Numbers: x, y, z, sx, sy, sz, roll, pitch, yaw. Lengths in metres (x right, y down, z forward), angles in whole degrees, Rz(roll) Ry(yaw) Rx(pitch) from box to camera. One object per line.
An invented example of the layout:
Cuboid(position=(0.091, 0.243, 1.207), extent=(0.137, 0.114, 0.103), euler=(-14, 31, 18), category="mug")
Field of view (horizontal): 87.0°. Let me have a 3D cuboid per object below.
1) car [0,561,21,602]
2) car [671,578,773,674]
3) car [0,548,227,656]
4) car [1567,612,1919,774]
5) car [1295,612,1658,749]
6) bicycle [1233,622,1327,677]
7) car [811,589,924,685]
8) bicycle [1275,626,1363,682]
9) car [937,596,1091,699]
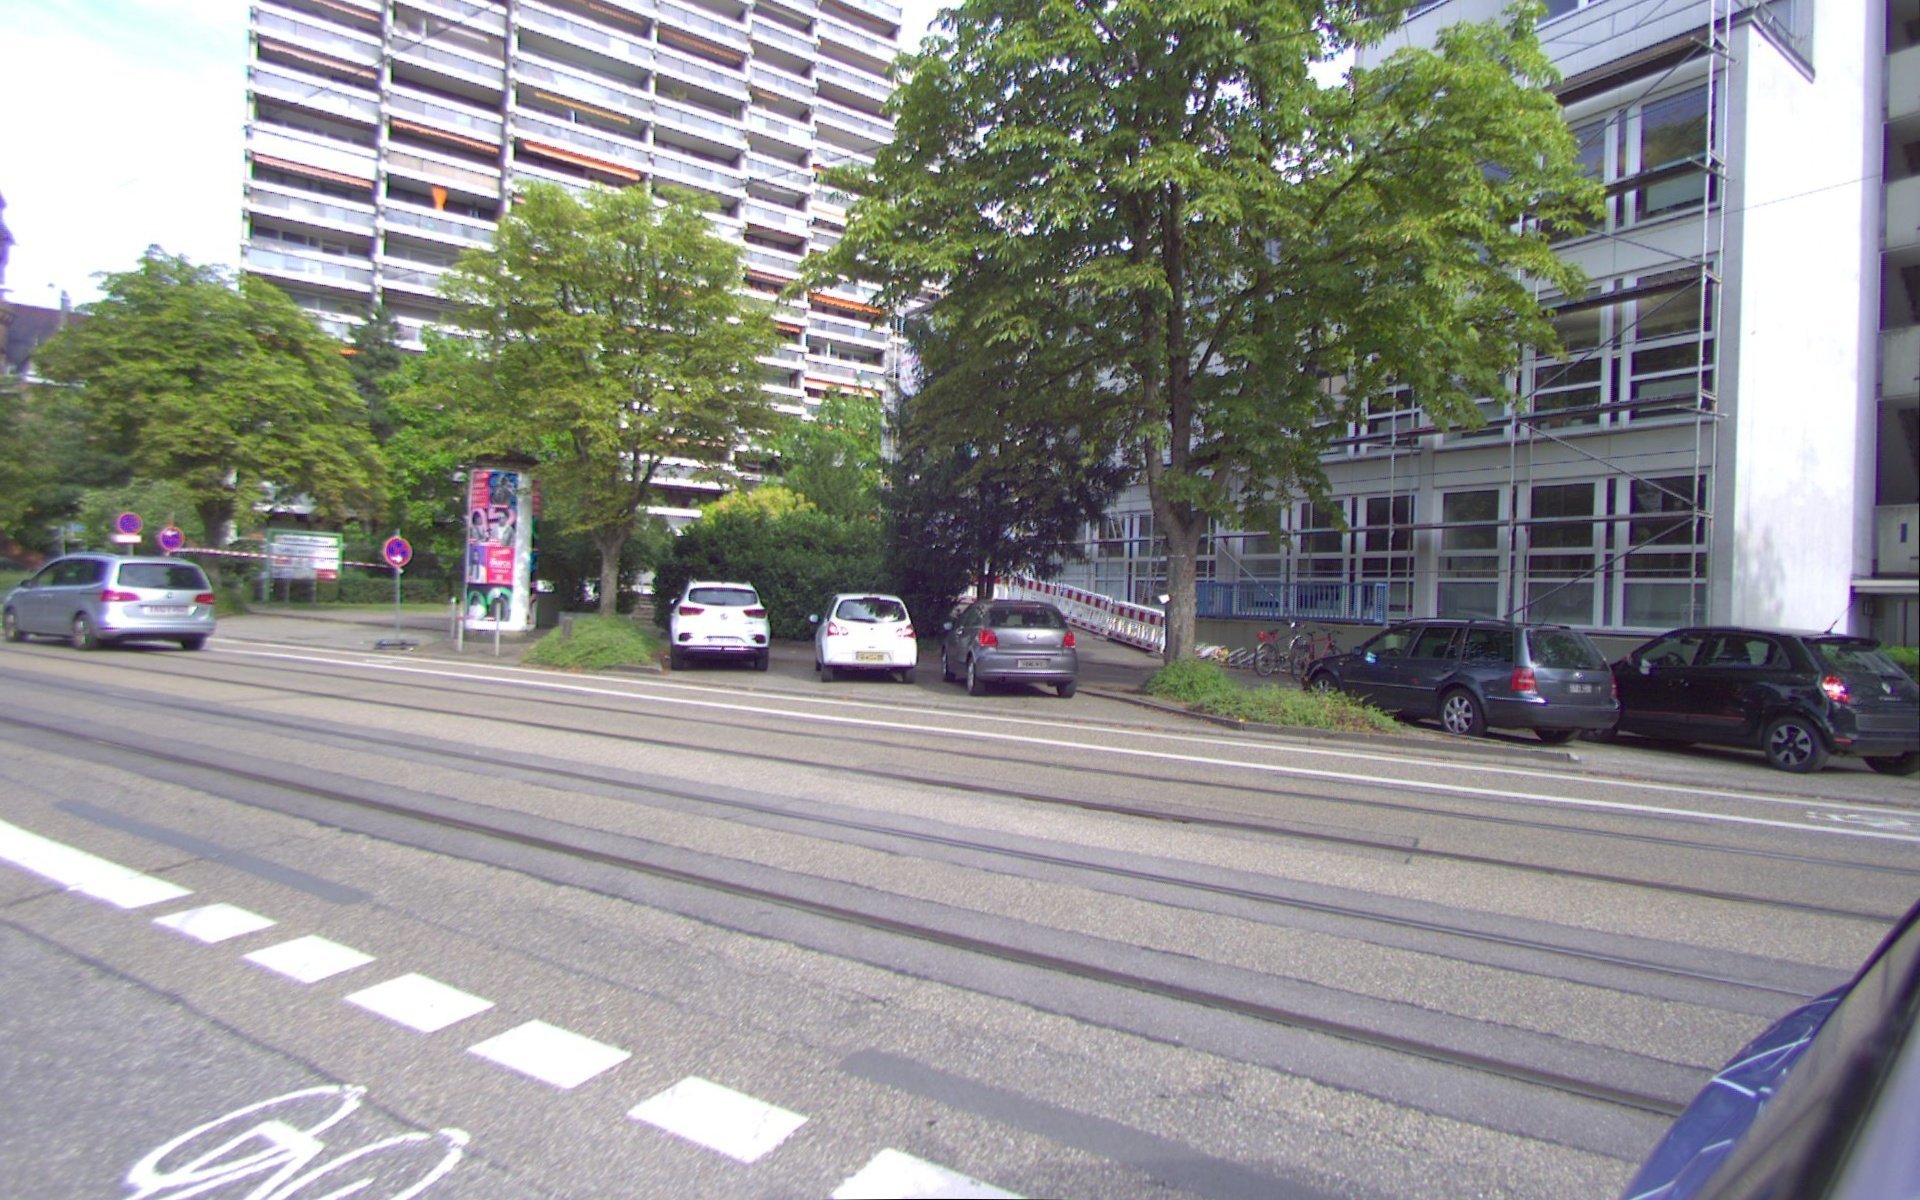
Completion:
Cuboid(position=(-38.330, -0.770, 38.955), extent=(1.646, 1.623, 3.654), euler=(2, -1, -16), category="car")
Cuboid(position=(-4.630, 0.461, 19.362), extent=(1.646, 1.623, 3.654), euler=(2, -1, -16), category="car")
Cuboid(position=(-15.887, 0.003, 18.788), extent=(4.574, 1.722, 1.800), euler=(3, -1, 28), category="car")
Cuboid(position=(9.266, 0.986, 11.972), extent=(1.562, 1.557, 3.424), euler=(3, -1, -14), category="car")
Cuboid(position=(6.496, 0.943, 13.328), extent=(1.778, 1.433, 4.179), euler=(3, -1, -18), category="car")
Cuboid(position=(6.716, 1.040, 21.215), extent=(1.936, 1.057, 0.596), euler=(3, -1, -24), category="bicycle")
Cuboid(position=(-1.748, 0.601, 18.098), extent=(1.647, 1.493, 3.652), euler=(2, -1, -10), category="car")
Cuboid(position=(7.283, 1.097, 20.510), extent=(1.939, 1.057, 0.595), euler=(3, -1, -33), category="bicycle")
Cuboid(position=(0.756, 0.698, 16.483), extent=(1.647, 1.437, 3.652), euler=(2, -1, -10), category="car")
